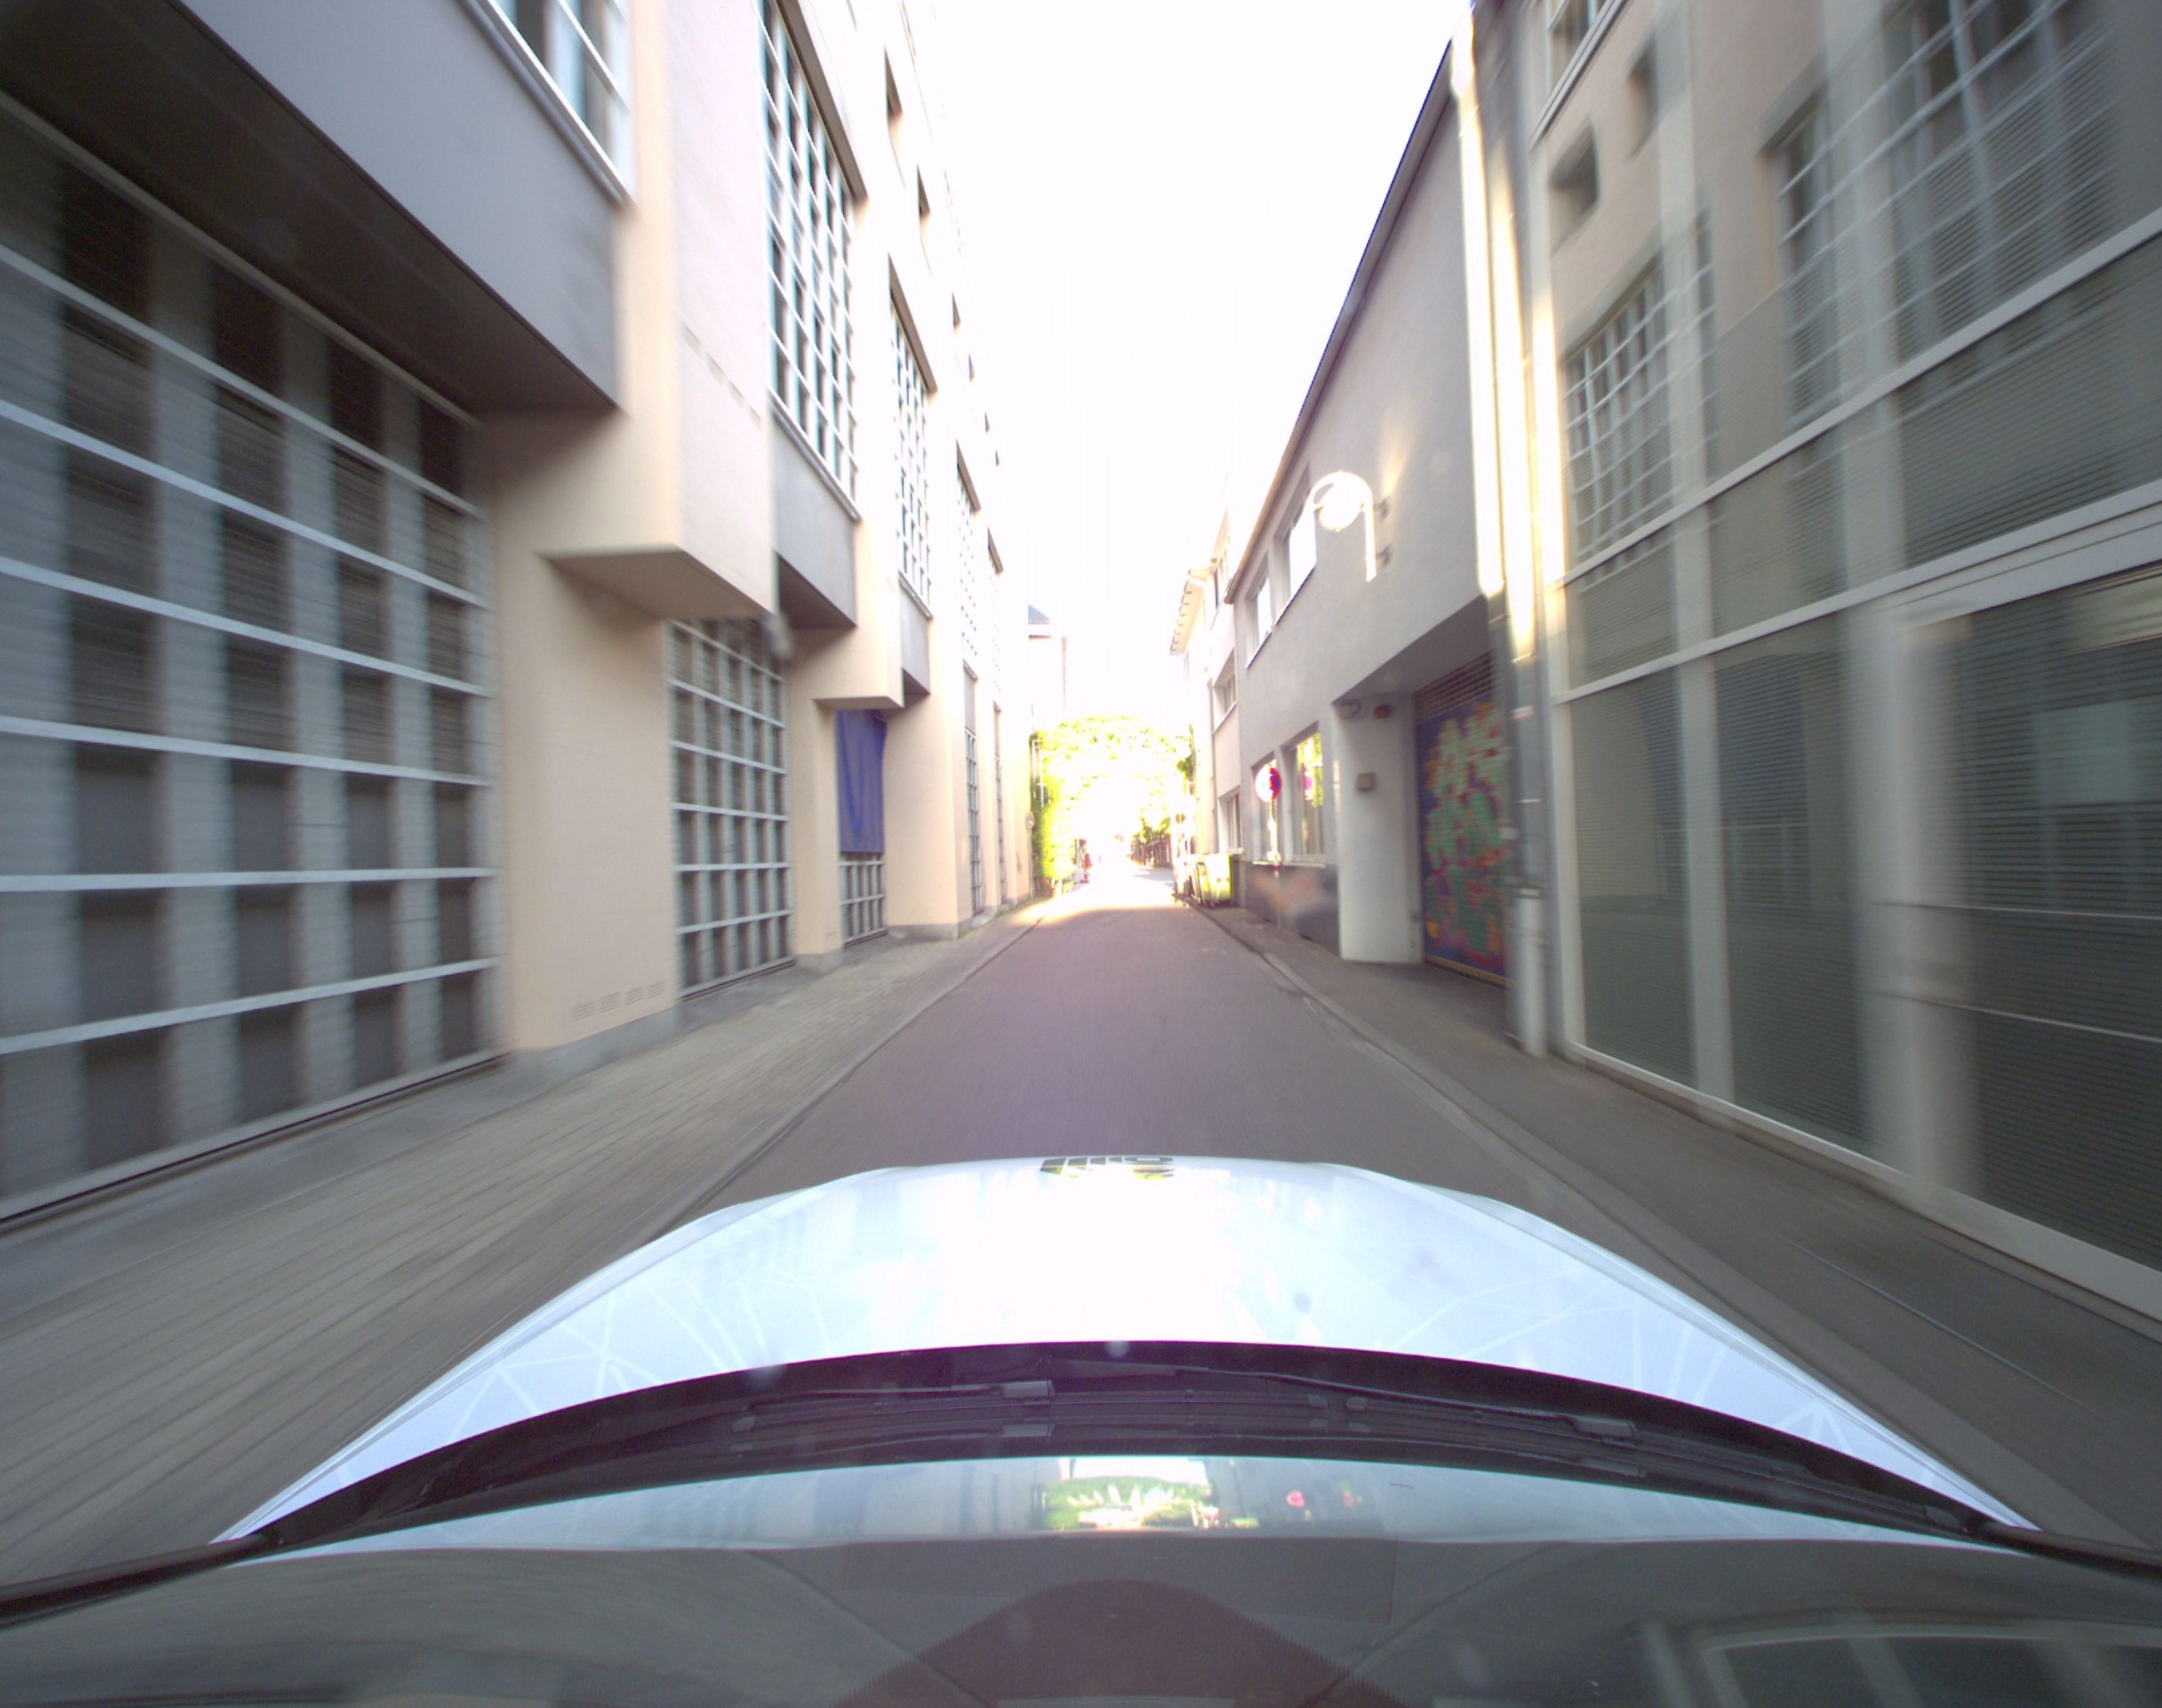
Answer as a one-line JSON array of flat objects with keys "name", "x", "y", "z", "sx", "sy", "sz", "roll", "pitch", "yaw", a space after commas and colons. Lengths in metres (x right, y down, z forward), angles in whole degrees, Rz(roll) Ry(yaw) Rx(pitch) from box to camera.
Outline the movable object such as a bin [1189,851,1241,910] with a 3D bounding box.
[{"name": "movable object such as a bin", "x": 3.390, "y": 0.655, "z": 20.667, "sx": 0.935, "sy": 1.366, "sz": 1.340, "roll": -4, "pitch": 0, "yaw": -4}]

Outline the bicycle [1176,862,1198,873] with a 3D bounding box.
[{"name": "bicycle", "x": 11.242, "y": 1.471, "z": 86.413, "sx": 2.137, "sy": 1.061, "sz": 0.593, "roll": -3, "pitch": -2, "yaw": 15}]

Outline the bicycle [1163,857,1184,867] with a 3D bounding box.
[{"name": "bicycle", "x": 10.209, "y": 0.884, "z": 89.596, "sx": 2.150, "sy": 0.926, "sz": 0.589, "roll": -3, "pitch": -2, "yaw": -7}]

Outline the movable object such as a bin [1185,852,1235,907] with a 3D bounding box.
[{"name": "movable object such as a bin", "x": 3.480, "y": 0.667, "z": 22.071, "sx": 1.061, "sy": 1.366, "sz": 1.342, "roll": -4, "pitch": 0, "yaw": 0}]

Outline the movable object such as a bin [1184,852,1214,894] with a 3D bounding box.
[{"name": "movable object such as a bin", "x": 3.858, "y": 0.604, "z": 26.715, "sx": 0.831, "sy": 1.305, "sz": 1.292, "roll": -4, "pitch": 0, "yaw": 5}]
